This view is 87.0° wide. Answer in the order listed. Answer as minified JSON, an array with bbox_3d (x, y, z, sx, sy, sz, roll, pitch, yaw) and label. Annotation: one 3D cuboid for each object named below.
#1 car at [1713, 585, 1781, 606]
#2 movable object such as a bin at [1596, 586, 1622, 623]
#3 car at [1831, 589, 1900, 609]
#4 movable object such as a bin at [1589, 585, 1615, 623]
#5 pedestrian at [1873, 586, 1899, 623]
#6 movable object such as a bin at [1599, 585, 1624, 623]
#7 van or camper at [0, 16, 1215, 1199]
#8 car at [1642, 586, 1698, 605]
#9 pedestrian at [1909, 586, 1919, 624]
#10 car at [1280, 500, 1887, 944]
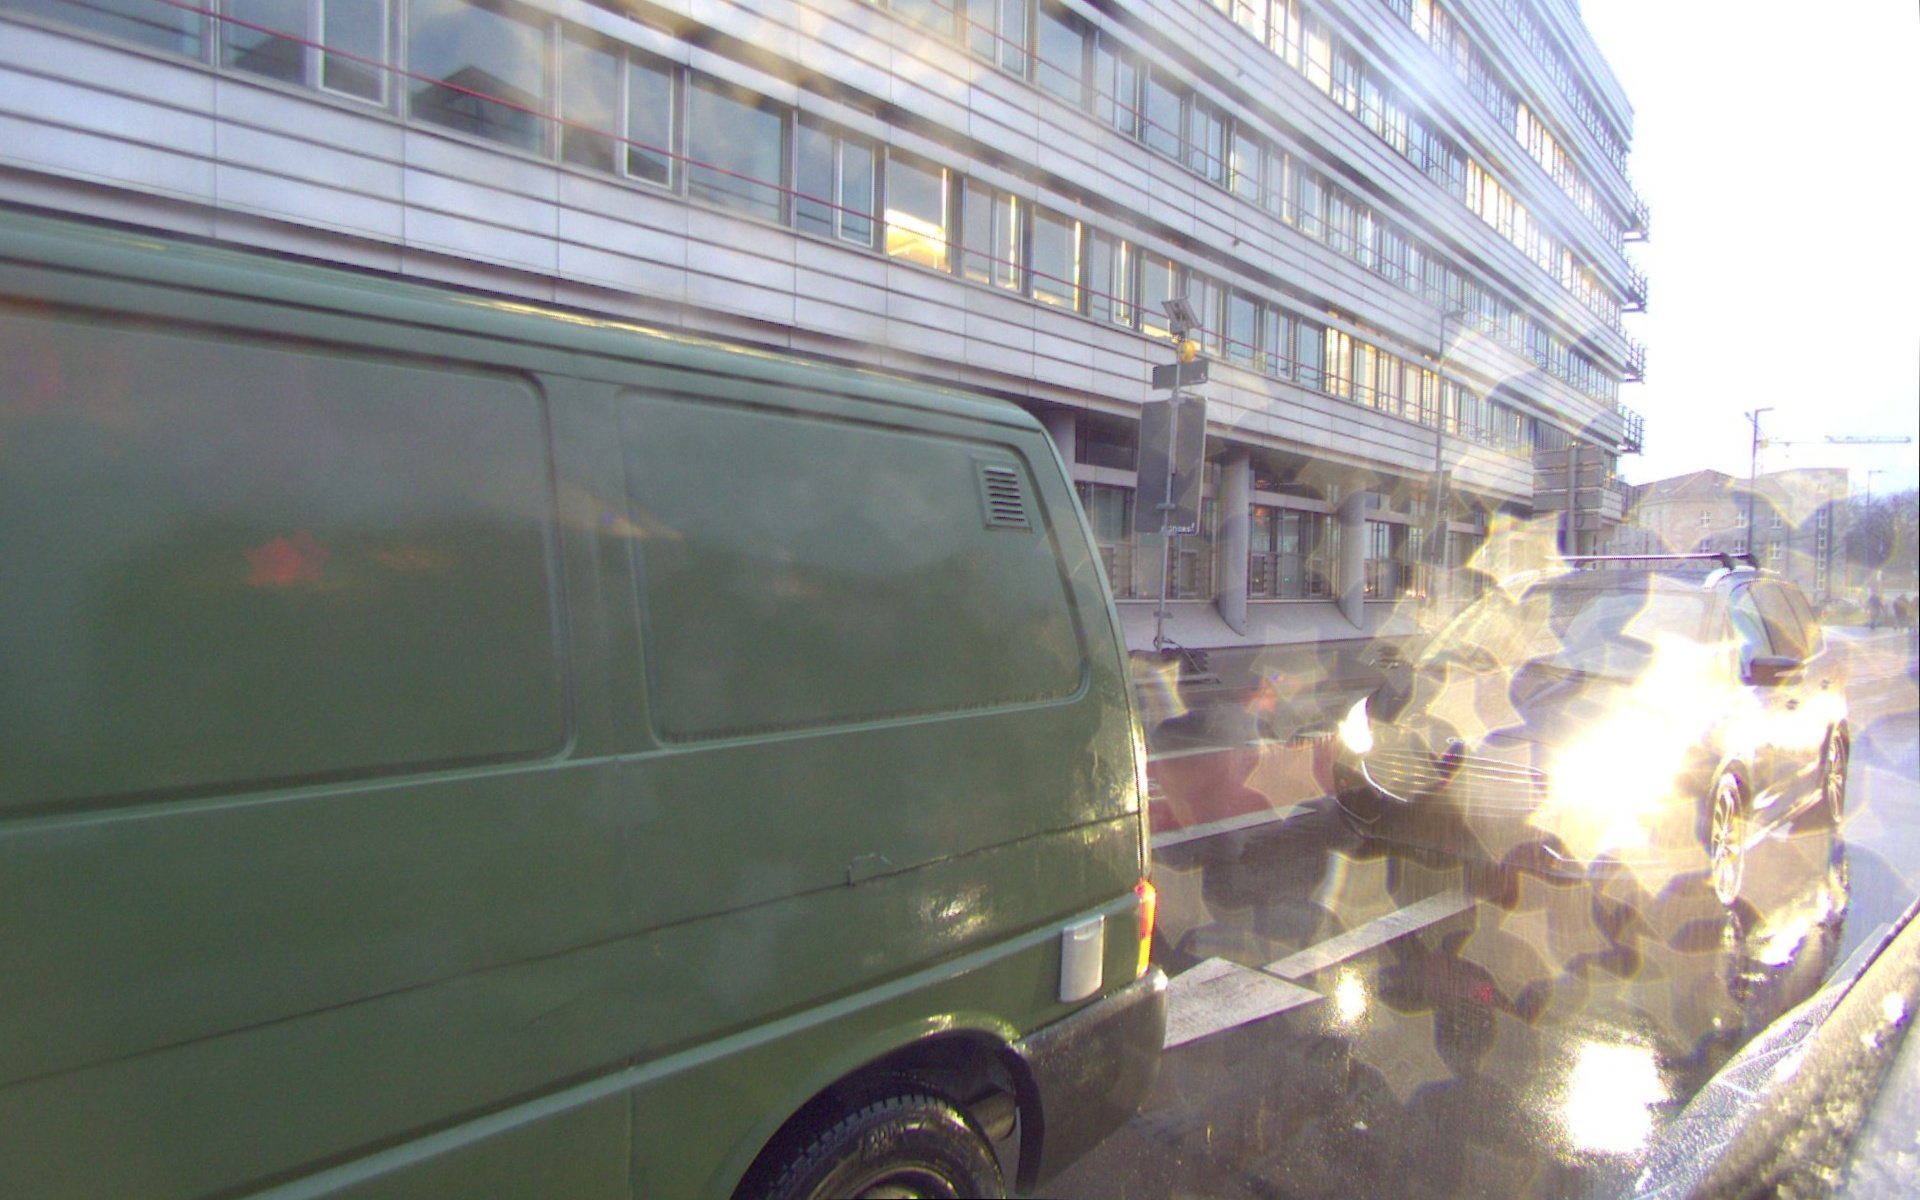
[{"bbox_3d":[71.053,-0.432,91.414,1.958,1.782,4.386,0,1,-24],"label":"car"},{"bbox_3d":[25.484,0.162,39.731,0.826,1.446,0.665,0,1,-44],"label":"movable object such as a bin"},{"bbox_3d":[74.277,-0.115,83.067,1.743,1.556,3.775,1,1,-24],"label":"car"},{"bbox_3d":[24.825,0.147,39.146,0.826,1.446,0.665,0,1,-44],"label":"movable object such as a bin"},{"bbox_3d":[44.173,0.217,48.268,0.953,1.722,0.746,0,4,-44],"label":"pedestrian"},{"bbox_3d":[26.059,0.161,40.465,0.826,1.495,0.665,0,1,-44],"label":"movable object such as a bin"},{"bbox_3d":[-1.687,0.451,1.305,4.341,1.931,1.760,0,0,-41],"label":"van or camper"},{"bbox_3d":[68.597,-0.465,97.851,1.958,1.693,4.013,0,1,-24],"label":"car"},{"bbox_3d":[44.538,0.247,46.941,0.870,1.723,0.650,0,3,-44],"label":"pedestrian"},{"bbox_3d":[4.146,0.495,6.379,4.587,1.834,1.887,0,0,-39],"label":"car"}]
